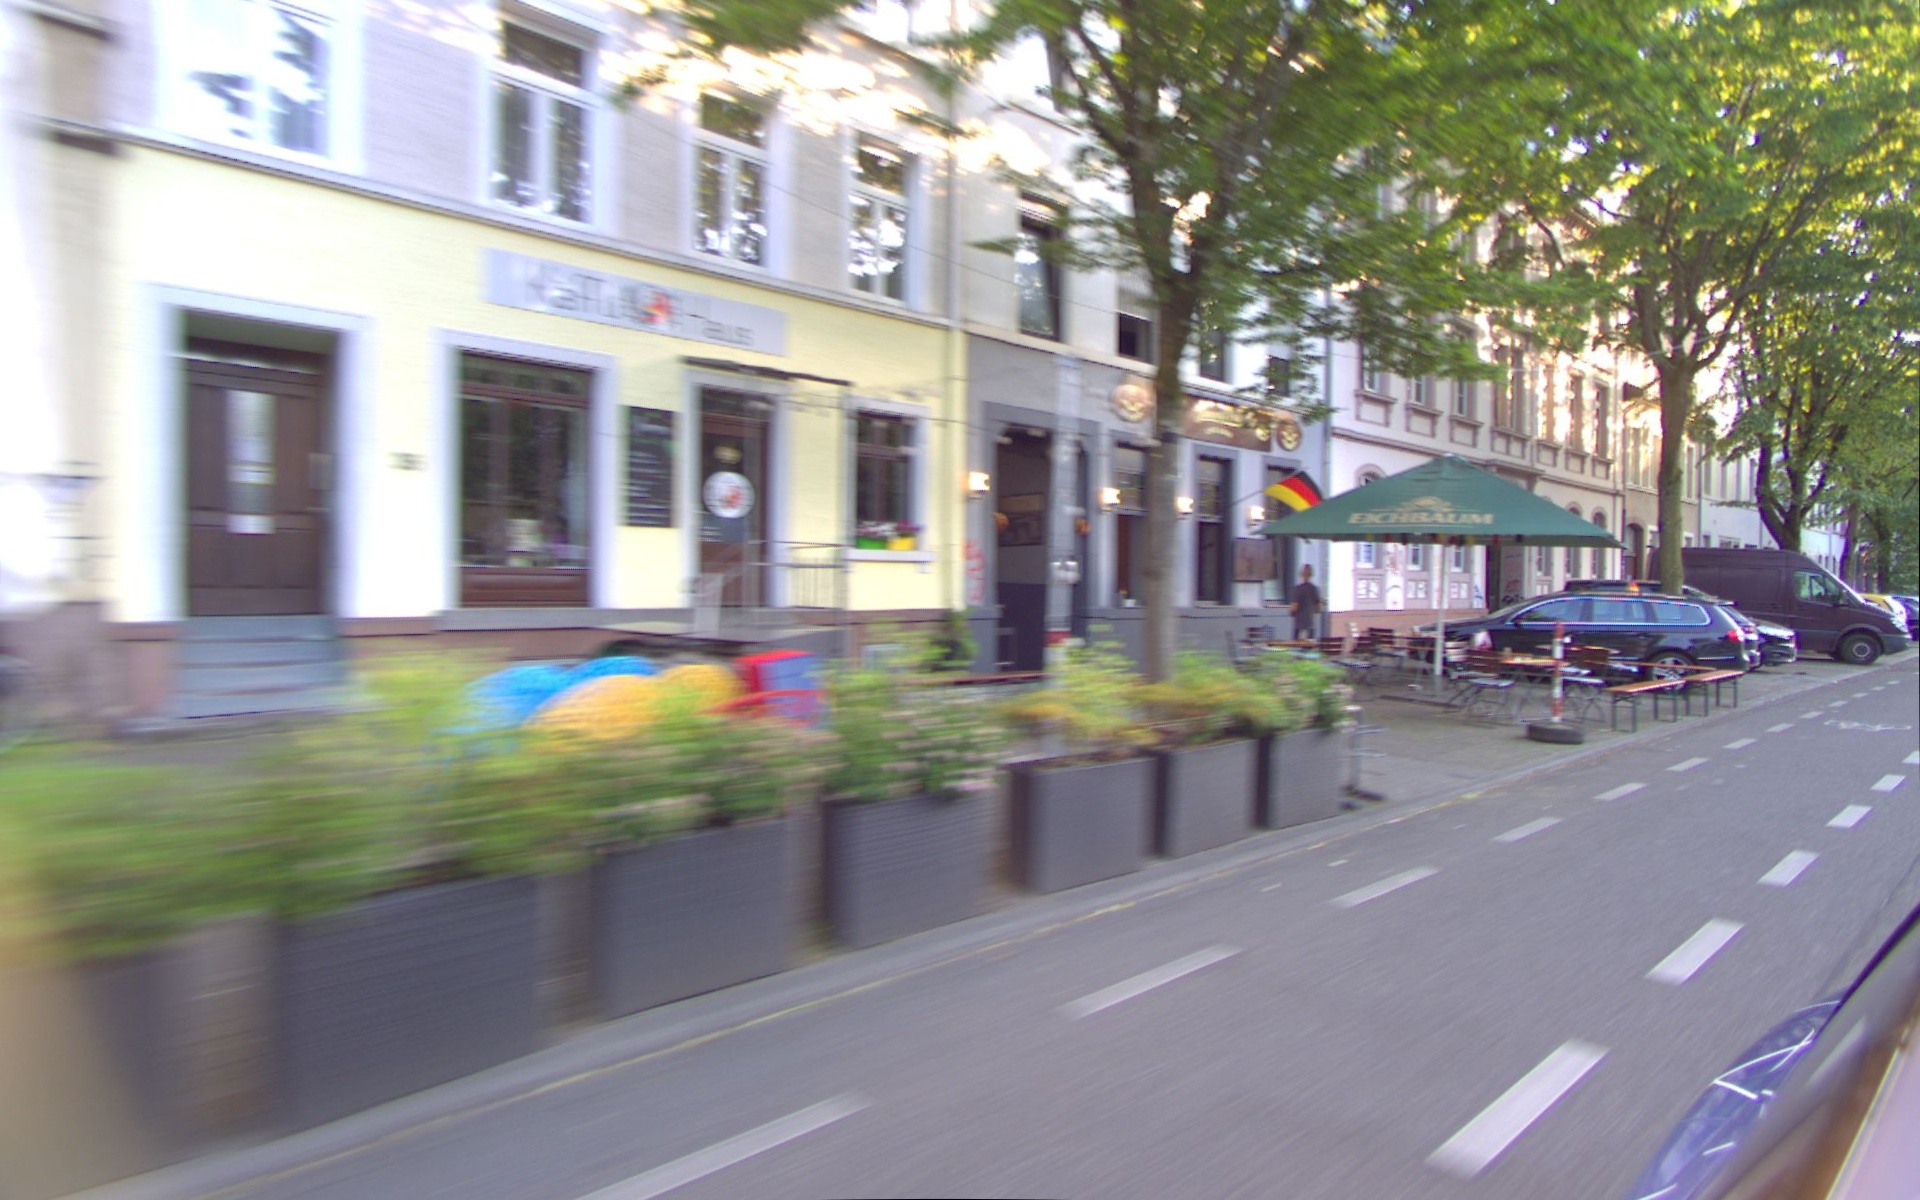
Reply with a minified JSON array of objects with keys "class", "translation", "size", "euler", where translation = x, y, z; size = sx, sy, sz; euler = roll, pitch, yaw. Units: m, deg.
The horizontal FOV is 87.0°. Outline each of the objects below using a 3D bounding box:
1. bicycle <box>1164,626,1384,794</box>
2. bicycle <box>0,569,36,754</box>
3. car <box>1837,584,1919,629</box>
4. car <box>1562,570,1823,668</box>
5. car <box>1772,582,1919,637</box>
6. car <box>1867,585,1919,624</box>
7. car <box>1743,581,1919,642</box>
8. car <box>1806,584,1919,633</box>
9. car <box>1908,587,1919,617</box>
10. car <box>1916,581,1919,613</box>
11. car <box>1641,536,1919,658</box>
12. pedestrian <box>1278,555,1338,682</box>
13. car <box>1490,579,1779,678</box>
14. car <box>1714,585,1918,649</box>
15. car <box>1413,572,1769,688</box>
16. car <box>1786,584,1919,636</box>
[{"class":"bicycle","translation":[2.563,0.807,8.142],"size":[1.991,1.139,0.763],"euler":[0,0,-41]},{"class":"bicycle","translation":[-7.039,0.410,6.394],"size":[1.752,1.226,0.470],"euler":[0,0,-41]},{"class":"car","translation":[36.016,0.286,38.373],"size":[3.970,1.595,1.700],"euler":[3,1,35]},{"class":"car","translation":[14.744,0.307,20.534],"size":[1.692,1.720,3.989],"euler":[1,1,-42]},{"class":"car","translation":[28.953,0.292,32.671],"size":[1.691,1.595,3.992],"euler":[1,1,-39]},{"class":"car","translation":[41.651,0.230,43.309],"size":[3.970,1.595,1.700],"euler":[3,1,35]},{"class":"car","translation":[26.085,0.297,30.193],"size":[1.691,1.618,3.992],"euler":[1,1,-39]},{"class":"car","translation":[32.986,0.301,36.239],"size":[3.975,1.595,1.698],"euler":[3,1,38]},{"class":"car","translation":[52.721,0.170,53.202],"size":[3.970,1.595,1.700],"euler":[3,1,35]},{"class":"car","translation":[57.041,-0.101,57.296],"size":[3.970,1.863,1.700],"euler":[3,1,35]},{"class":"car","translation":[19.663,-0.164,24.441],"size":[5.196,2.653,1.905],"euler":[3,2,34]},{"class":"pedestrian","translation":[4.982,0.249,14.480],"size":[0.633,1.774,0.499],"euler":[0,2,-36]},{"class":"car","translation":[11.910,0.430,18.135],"size":[4.092,1.470,1.788],"euler":[3,1,35]},{"class":"car","translation":[23.136,0.409,27.572],"size":[3.966,1.504,1.702],"euler":[3,1,33]},{"class":"car","translation":[9.893,0.411,16.361],"size":[4.586,1.536,1.796],"euler":[3,1,24]},{"class":"car","translation":[31.130,0.326,34.760],"size":[1.691,1.595,3.992],"euler":[1,1,-39]}]
